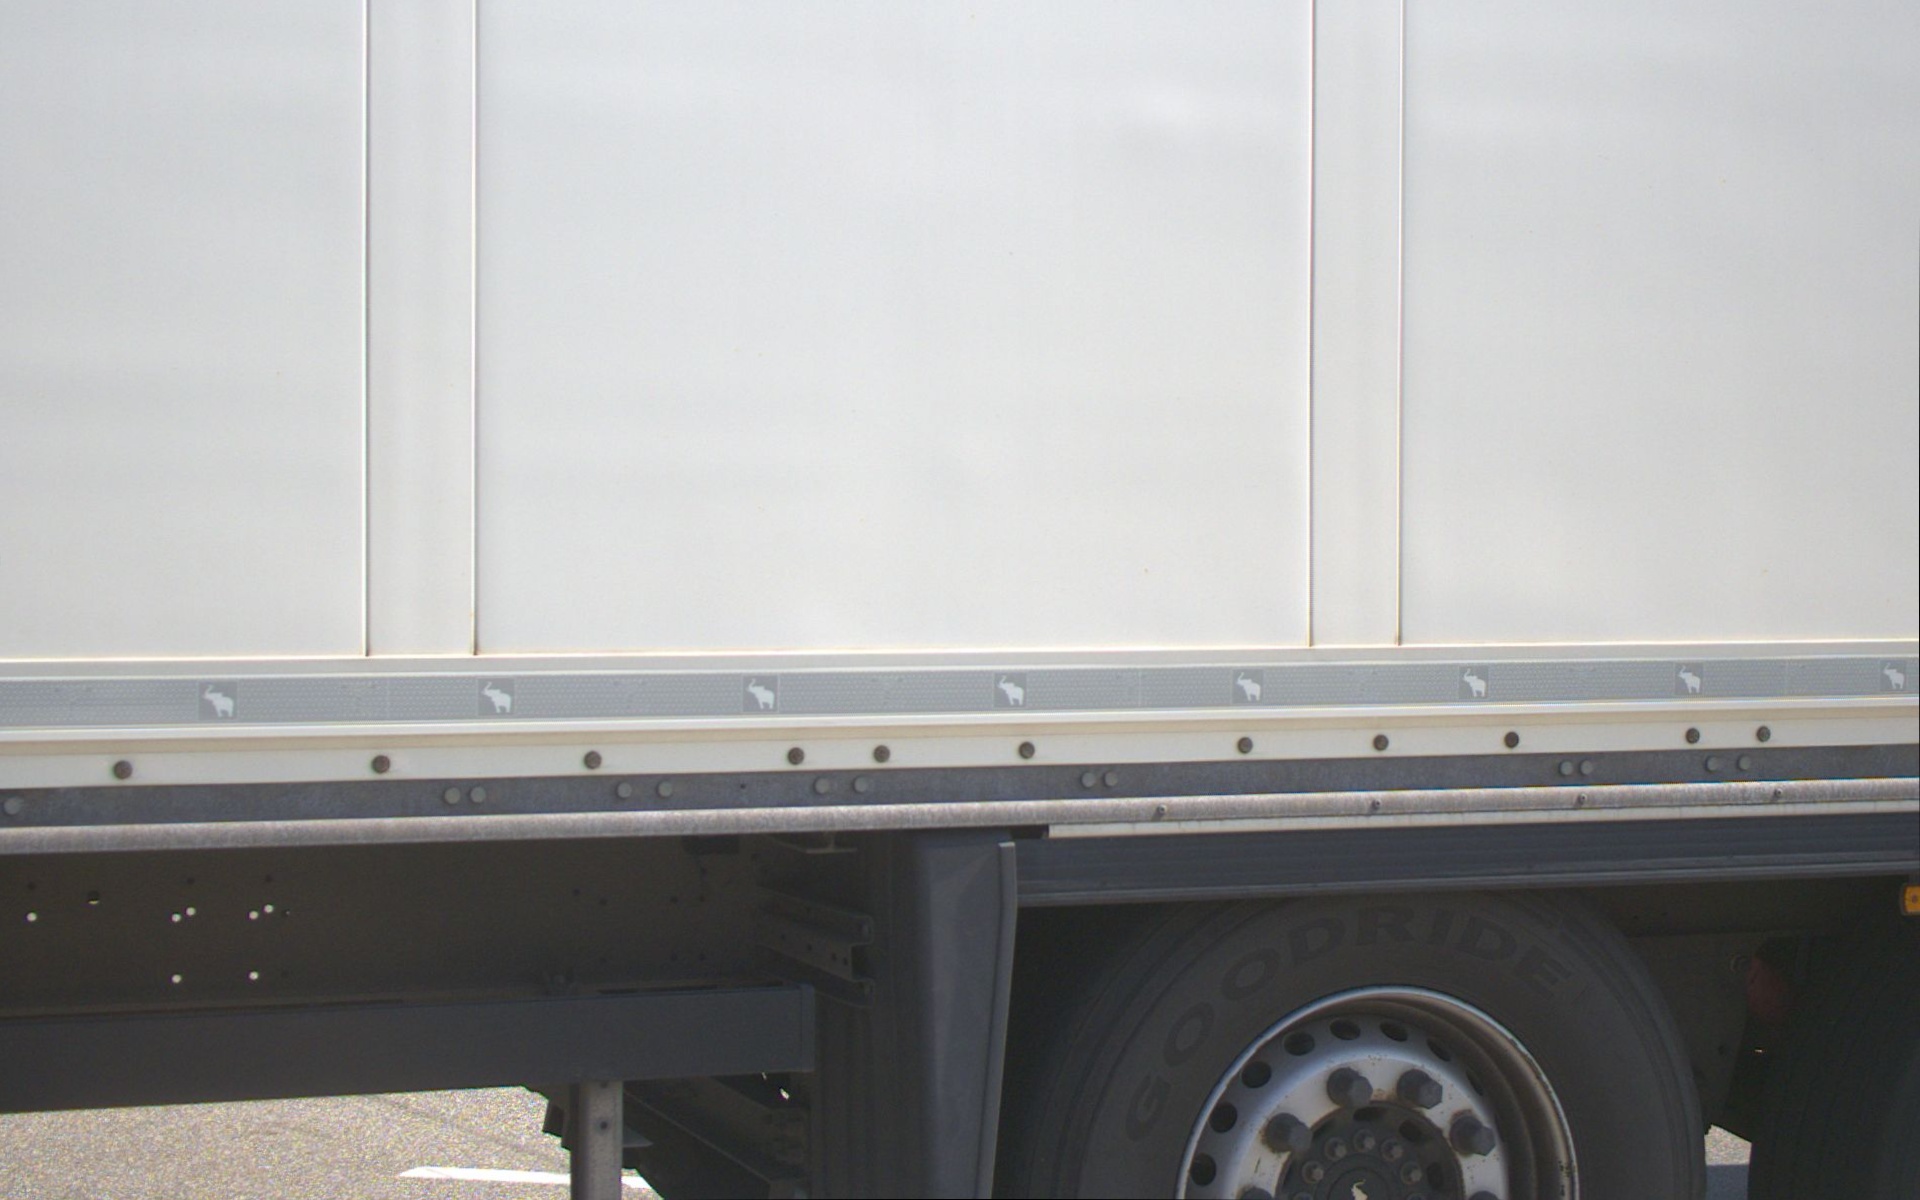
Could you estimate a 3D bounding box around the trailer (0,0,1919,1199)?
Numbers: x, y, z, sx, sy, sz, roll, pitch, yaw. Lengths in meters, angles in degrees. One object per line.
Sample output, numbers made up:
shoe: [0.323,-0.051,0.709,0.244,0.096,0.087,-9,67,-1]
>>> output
trailer: [-0.984,-0.742,5.206,13.931,4.151,2.897,0,1,-19]
